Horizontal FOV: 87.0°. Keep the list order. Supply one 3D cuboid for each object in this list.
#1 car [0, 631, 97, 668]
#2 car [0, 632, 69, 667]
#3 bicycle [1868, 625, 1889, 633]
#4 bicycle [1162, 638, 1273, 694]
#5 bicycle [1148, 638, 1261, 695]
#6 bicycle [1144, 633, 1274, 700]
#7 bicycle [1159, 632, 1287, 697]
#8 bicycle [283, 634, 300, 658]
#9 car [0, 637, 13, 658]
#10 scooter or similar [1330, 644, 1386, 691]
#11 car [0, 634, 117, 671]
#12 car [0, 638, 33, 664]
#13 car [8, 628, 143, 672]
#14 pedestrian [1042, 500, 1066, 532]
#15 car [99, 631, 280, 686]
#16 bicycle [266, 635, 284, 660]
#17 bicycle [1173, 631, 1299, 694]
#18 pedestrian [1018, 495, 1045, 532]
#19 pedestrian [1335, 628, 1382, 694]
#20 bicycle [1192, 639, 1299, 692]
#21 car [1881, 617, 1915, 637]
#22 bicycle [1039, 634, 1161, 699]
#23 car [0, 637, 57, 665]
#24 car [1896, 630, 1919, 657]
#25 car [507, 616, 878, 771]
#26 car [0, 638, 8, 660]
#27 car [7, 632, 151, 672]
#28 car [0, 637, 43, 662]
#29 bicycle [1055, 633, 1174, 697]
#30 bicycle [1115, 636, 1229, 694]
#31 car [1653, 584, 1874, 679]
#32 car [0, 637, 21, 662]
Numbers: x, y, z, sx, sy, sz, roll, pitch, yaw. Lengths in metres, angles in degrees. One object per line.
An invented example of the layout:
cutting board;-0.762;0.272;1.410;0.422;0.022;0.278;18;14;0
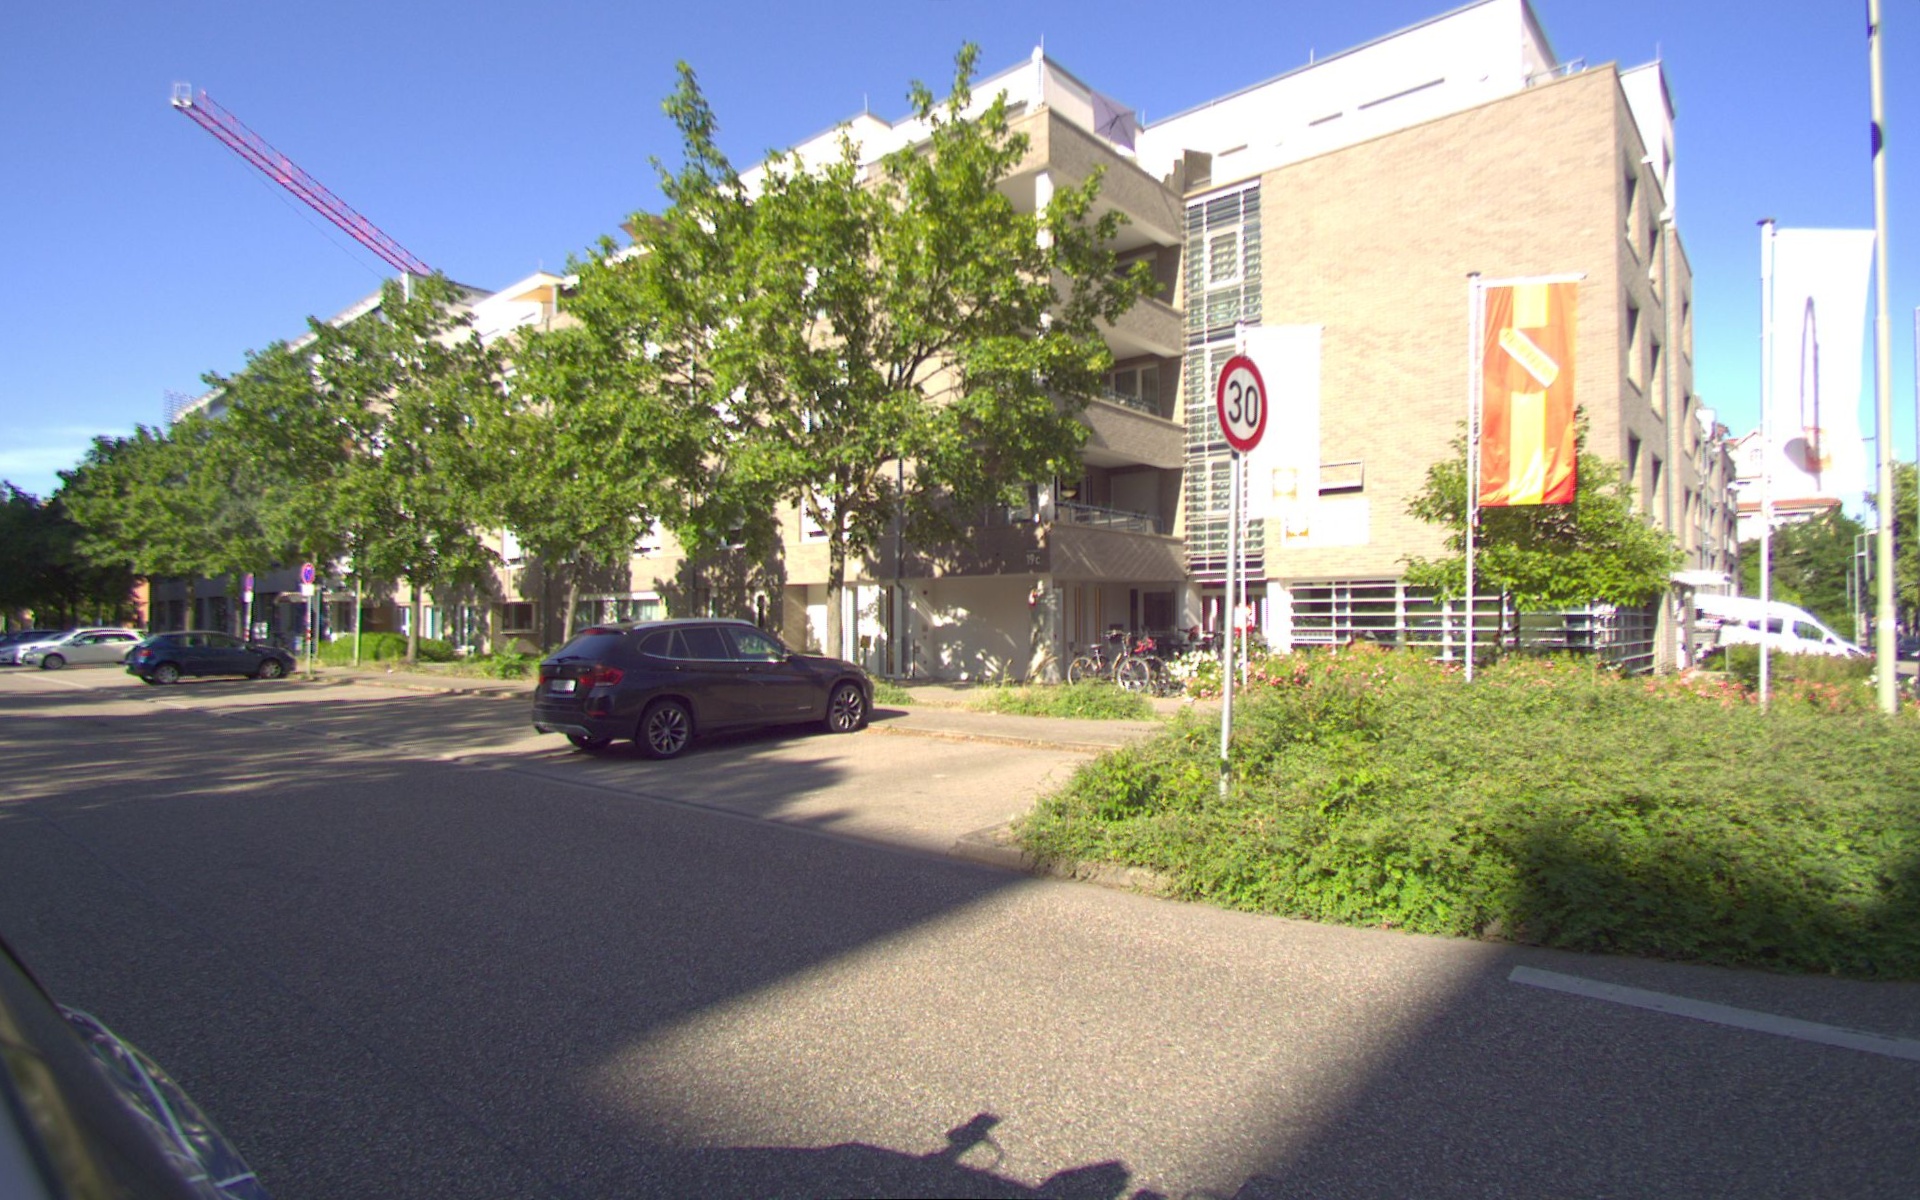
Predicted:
car;-44.219;2.372;48.579;1.803;1.632;4.068;-2;-1;42
car;-47.737;2.529;51.470;1.655;1.681;3.533;-2;-1;43
bicycle;90.991;2.886;100.250;1.469;0.849;0.331;-2;-1;38
bicycle;5.130;1.301;20.311;2.192;1.055;0.432;-2;-1;42
bicycle;4.783;1.289;19.909;2.192;1.055;0.432;-2;-1;42
bicycle;4.199;1.103;17.242;2.192;1.055;0.432;-2;-1;42
bicycle;4.541;1.093;17.626;2.192;1.055;0.432;-2;-1;42
bicycle;-33.605;2.310;50.868;1.627;1.184;0.334;-2;-1;41
car;-71.144;3.449;73.248;1.616;1.519;3.585;-2;-1;39
scooter or similar;8.462;1.429;21.520;0.868;0.961;0.795;-2;-3;42
car;-41.940;2.384;46.629;1.938;1.462;4.467;-2;-1;36
car;-55.493;2.934;57.852;1.656;1.447;3.494;-2;-1;39
car;-38.034;2.110;43.587;1.952;1.614;4.181;-1;0;41
pedestrian;2.221;-1.985;23.963;0.426;0.691;0.412;-1;-1;32
car;-22.749;1.673;30.008;1.814;1.422;3.950;-2;-1;37
bicycle;-33.818;2.341;49.976;1.627;1.184;0.334;-2;-1;41
bicycle;4.872;1.085;17.986;2.192;1.055;0.432;-2;-1;42
pedestrian;1.700;-2.042;24.036;0.362;0.804;0.676;-1;-1;34
pedestrian;8.480;1.287;21.526;0.745;1.371;0.661;-2;-3;42
bicycle;6.030;1.361;21.468;2.192;1.055;0.432;-2;-1;42
car;75.533;2.163;81.523;1.782;1.542;3.945;-2;-3;41
bicycle;2.380;1.120;17.441;2.192;1.055;0.432;-2;-1;42
car;-52.942;2.898;56.322;1.686;1.424;3.784;-4;-2;39
car;56.544;2.574;59.723;1.768;1.539;3.942;1;0;44
car;-3.117;0.997;12.463;1.771;1.531;4.148;-2;-1;41
car;-64.152;3.223;65.960;1.388;1.454;2.895;-2;-2;40
car;-35.887;2.100;41.324;1.799;1.491;4.215;-2;-2;40
car;-57.041;2.950;60.188;1.655;1.456;3.496;-2;-1;37
bicycle;2.685;1.123;17.808;2.192;1.055;0.432;-2;-1;42
bicycle;4.048;1.229;19.475;2.192;1.055;0.432;-2;-1;42
car;26.771;0.971;33.985;5.459;2.400;1.897;8;4;38
car;-60.817;3.126;62.864;1.645;1.517;3.494;-2;-1;39
